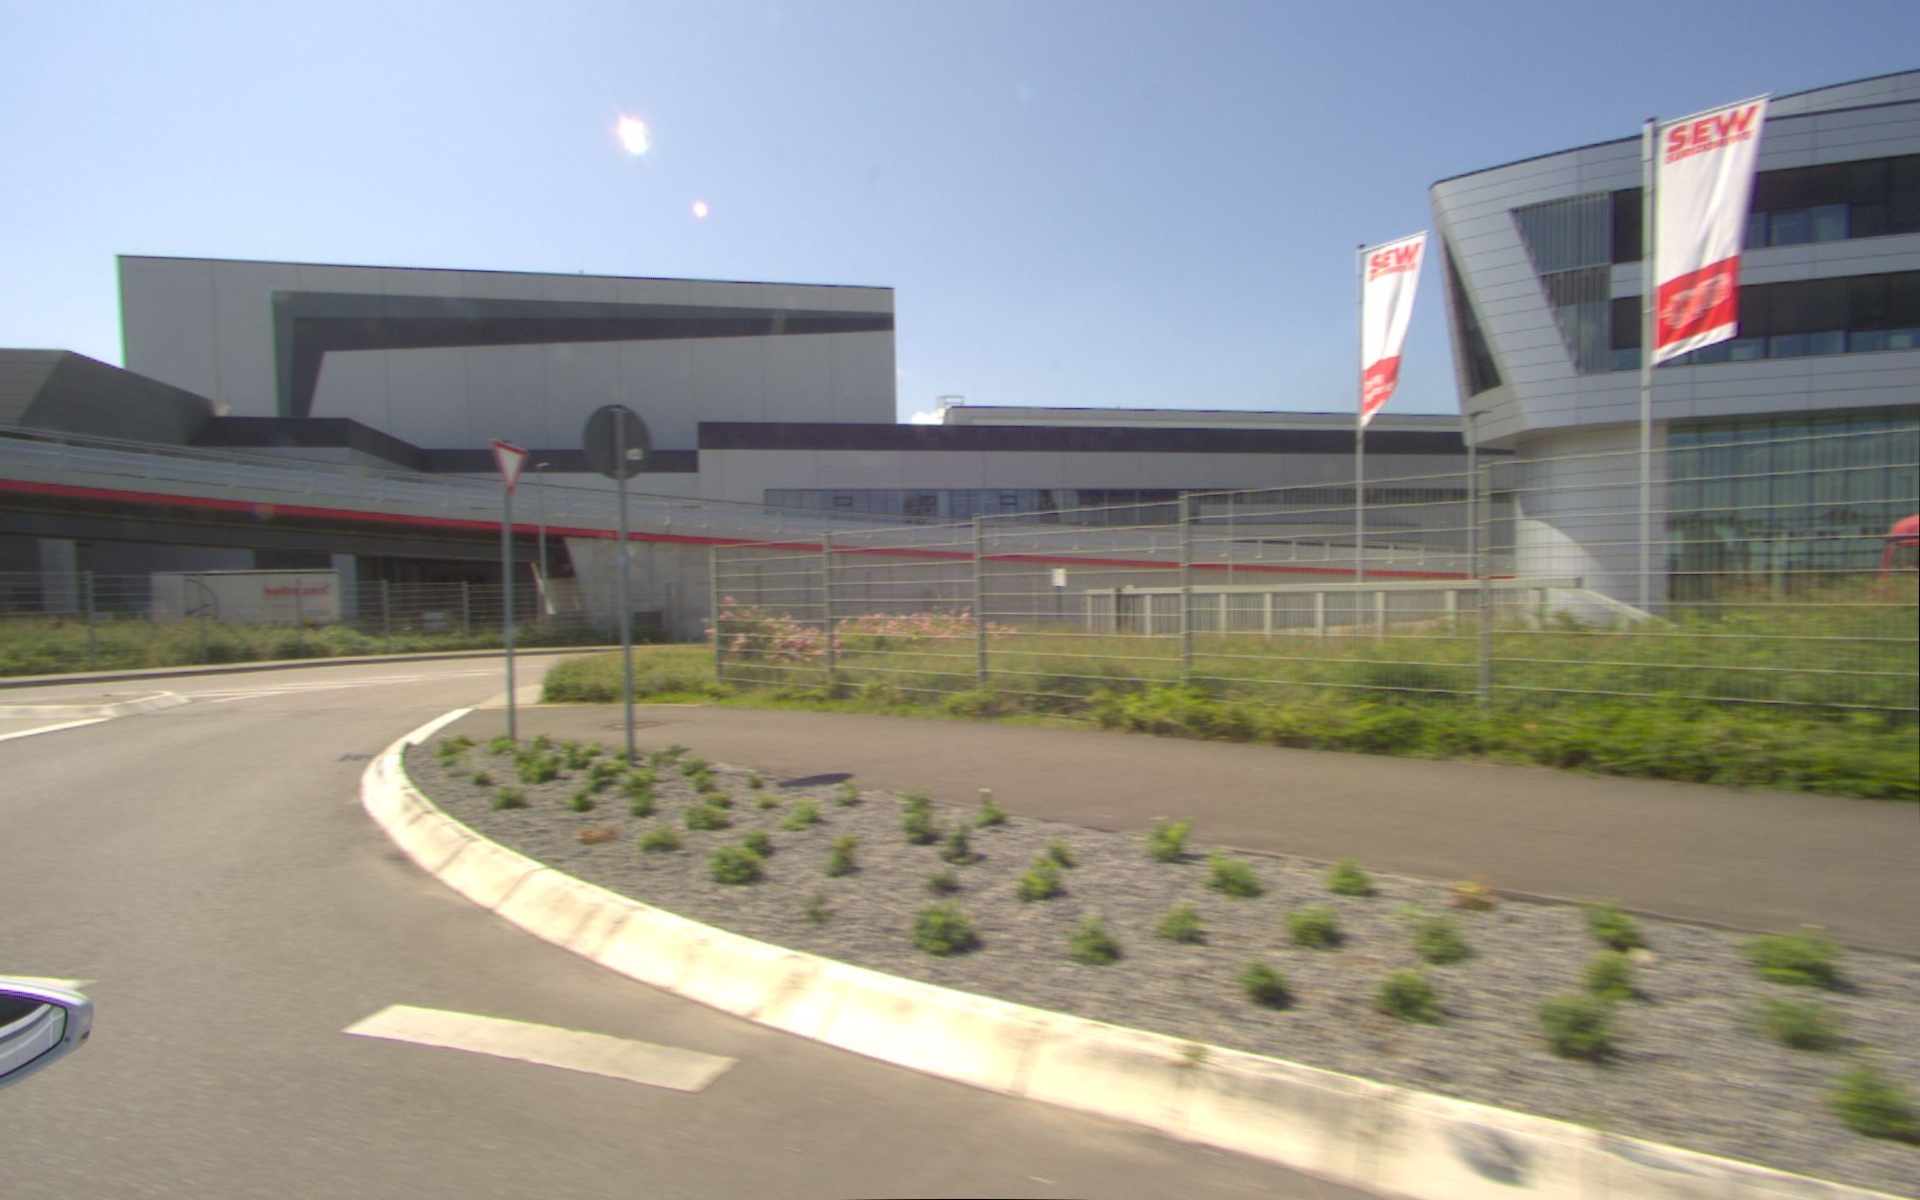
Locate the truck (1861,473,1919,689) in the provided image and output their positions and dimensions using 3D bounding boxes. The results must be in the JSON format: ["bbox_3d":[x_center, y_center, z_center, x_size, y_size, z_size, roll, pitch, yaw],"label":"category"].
[{"bbox_3d":[21.807,-0.400,19.758,2.720,4.485,5.272,-3,3,-22],"label":"truck"}]
